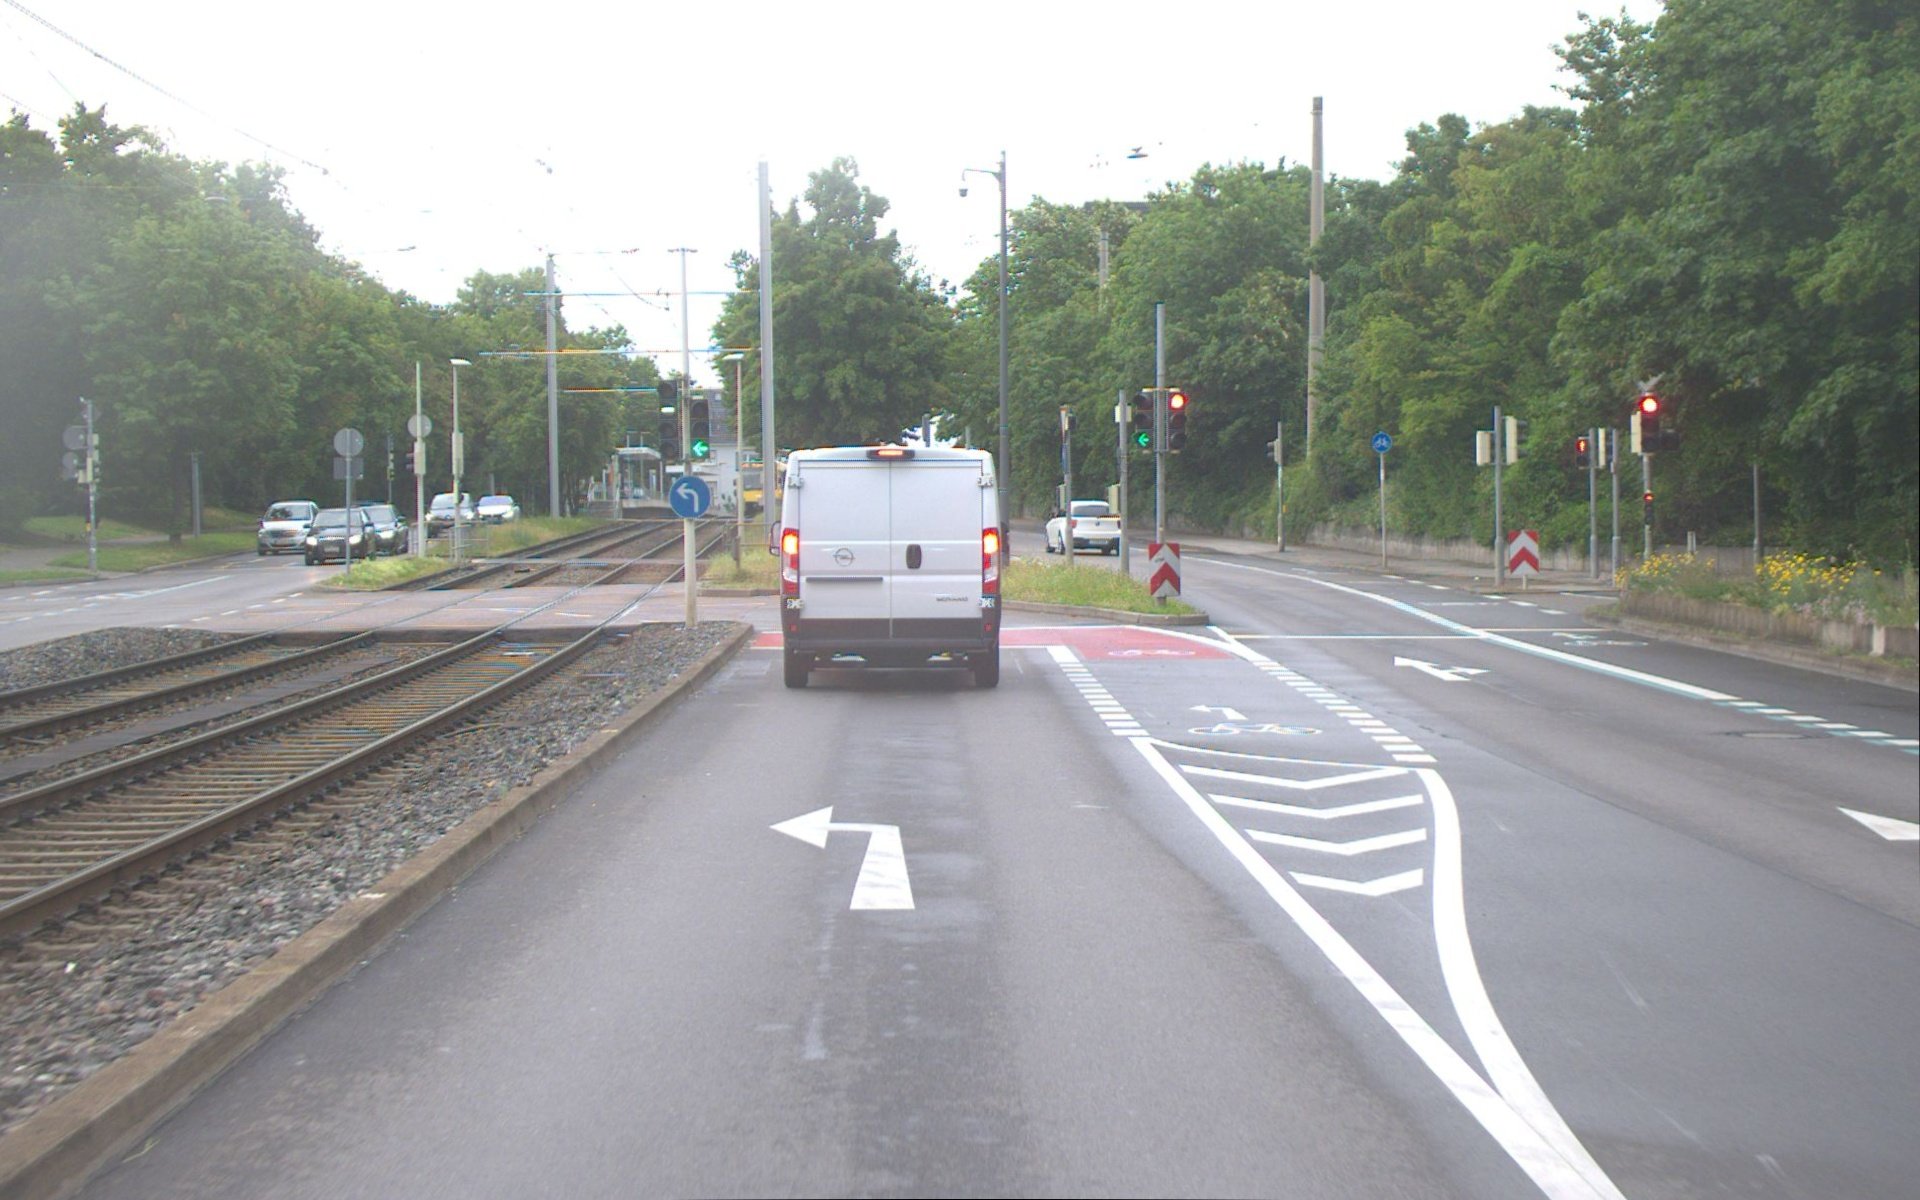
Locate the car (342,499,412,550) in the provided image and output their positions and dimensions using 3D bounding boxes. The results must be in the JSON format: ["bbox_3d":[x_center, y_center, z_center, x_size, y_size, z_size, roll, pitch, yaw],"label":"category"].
[{"bbox_3d":[-17.034,-2.228,100.605,1.601,1.397,3.792,1,2,-3],"label":"car"}]

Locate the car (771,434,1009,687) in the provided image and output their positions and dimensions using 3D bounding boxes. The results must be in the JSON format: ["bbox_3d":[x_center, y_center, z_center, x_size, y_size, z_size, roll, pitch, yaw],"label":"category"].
[{"bbox_3d":[-0.625,-0.398,33.699,2.146,2.275,5.063,0,1,0],"label":"car"}]

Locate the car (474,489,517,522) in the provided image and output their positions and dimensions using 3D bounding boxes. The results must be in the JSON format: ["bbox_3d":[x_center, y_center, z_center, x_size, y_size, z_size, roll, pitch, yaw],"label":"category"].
[{"bbox_3d":[-20.772,-4.222,153.837,1.601,1.397,3.792,1,2,-3],"label":"car"}]

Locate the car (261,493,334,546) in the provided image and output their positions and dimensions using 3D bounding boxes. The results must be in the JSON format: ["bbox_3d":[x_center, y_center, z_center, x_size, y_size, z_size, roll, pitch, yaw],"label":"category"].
[{"bbox_3d":[-20.611,-2.523,107.049,1.719,1.548,3.864,-1,2,-3],"label":"car"}]

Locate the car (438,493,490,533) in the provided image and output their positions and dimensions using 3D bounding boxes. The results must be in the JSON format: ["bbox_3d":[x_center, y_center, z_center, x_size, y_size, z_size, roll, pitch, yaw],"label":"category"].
[{"bbox_3d":[-18.702,-3.298,129.704,1.601,1.397,3.792,1,2,-3],"label":"car"}]

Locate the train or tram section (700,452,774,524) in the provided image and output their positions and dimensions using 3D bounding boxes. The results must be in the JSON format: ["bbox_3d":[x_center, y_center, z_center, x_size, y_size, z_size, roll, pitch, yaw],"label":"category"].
[{"bbox_3d":[-13.844,-6.931,214.841,4.060,3.881,15.040,1,0,-2],"label":"train or tram section"}]

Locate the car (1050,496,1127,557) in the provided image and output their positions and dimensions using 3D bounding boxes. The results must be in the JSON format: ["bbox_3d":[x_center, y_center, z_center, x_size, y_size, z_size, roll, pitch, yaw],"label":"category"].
[{"bbox_3d":[3.356,-1.946,90.490,1.703,1.516,3.792,1,2,-2],"label":"car"}]

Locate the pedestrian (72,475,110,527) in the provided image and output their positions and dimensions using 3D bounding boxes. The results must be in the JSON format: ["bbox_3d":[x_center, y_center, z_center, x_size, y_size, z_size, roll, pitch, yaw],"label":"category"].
[{"bbox_3d":[-27.002,-3.069,106.872,1.013,1.595,1.040,-1,2,-8],"label":"pedestrian"}]

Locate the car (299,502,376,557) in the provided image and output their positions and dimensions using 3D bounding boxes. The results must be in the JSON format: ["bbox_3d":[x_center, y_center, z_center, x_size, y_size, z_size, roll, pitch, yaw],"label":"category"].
[{"bbox_3d":[-16.794,-1.919,92.882,1.601,1.397,3.792,1,2,-3],"label":"car"}]
